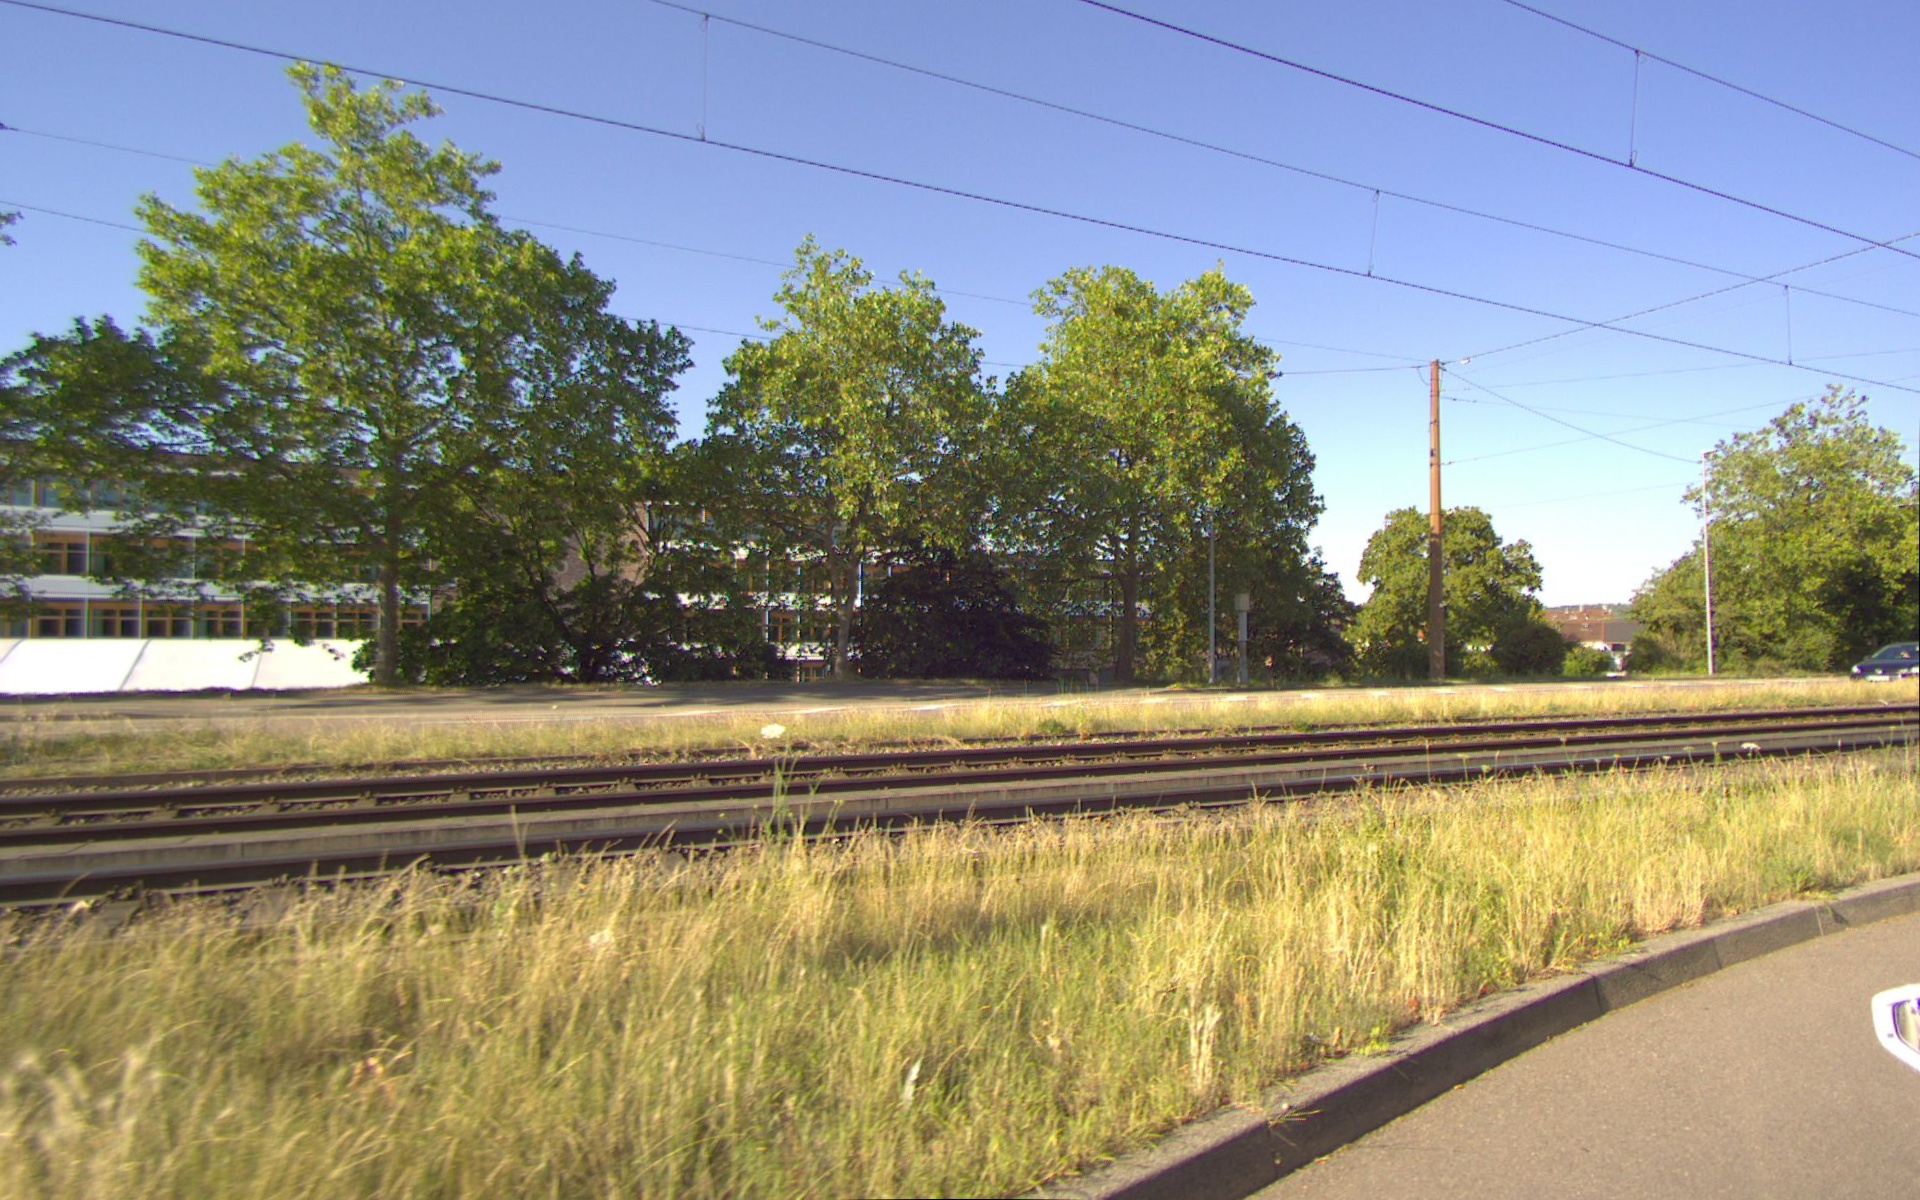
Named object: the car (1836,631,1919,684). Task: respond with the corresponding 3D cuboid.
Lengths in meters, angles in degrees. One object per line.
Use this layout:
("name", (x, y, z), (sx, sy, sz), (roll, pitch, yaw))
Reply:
("car", (27.828, 1.638, 29.294), (4.427, 1.444, 1.769), (1, -2, -24))
